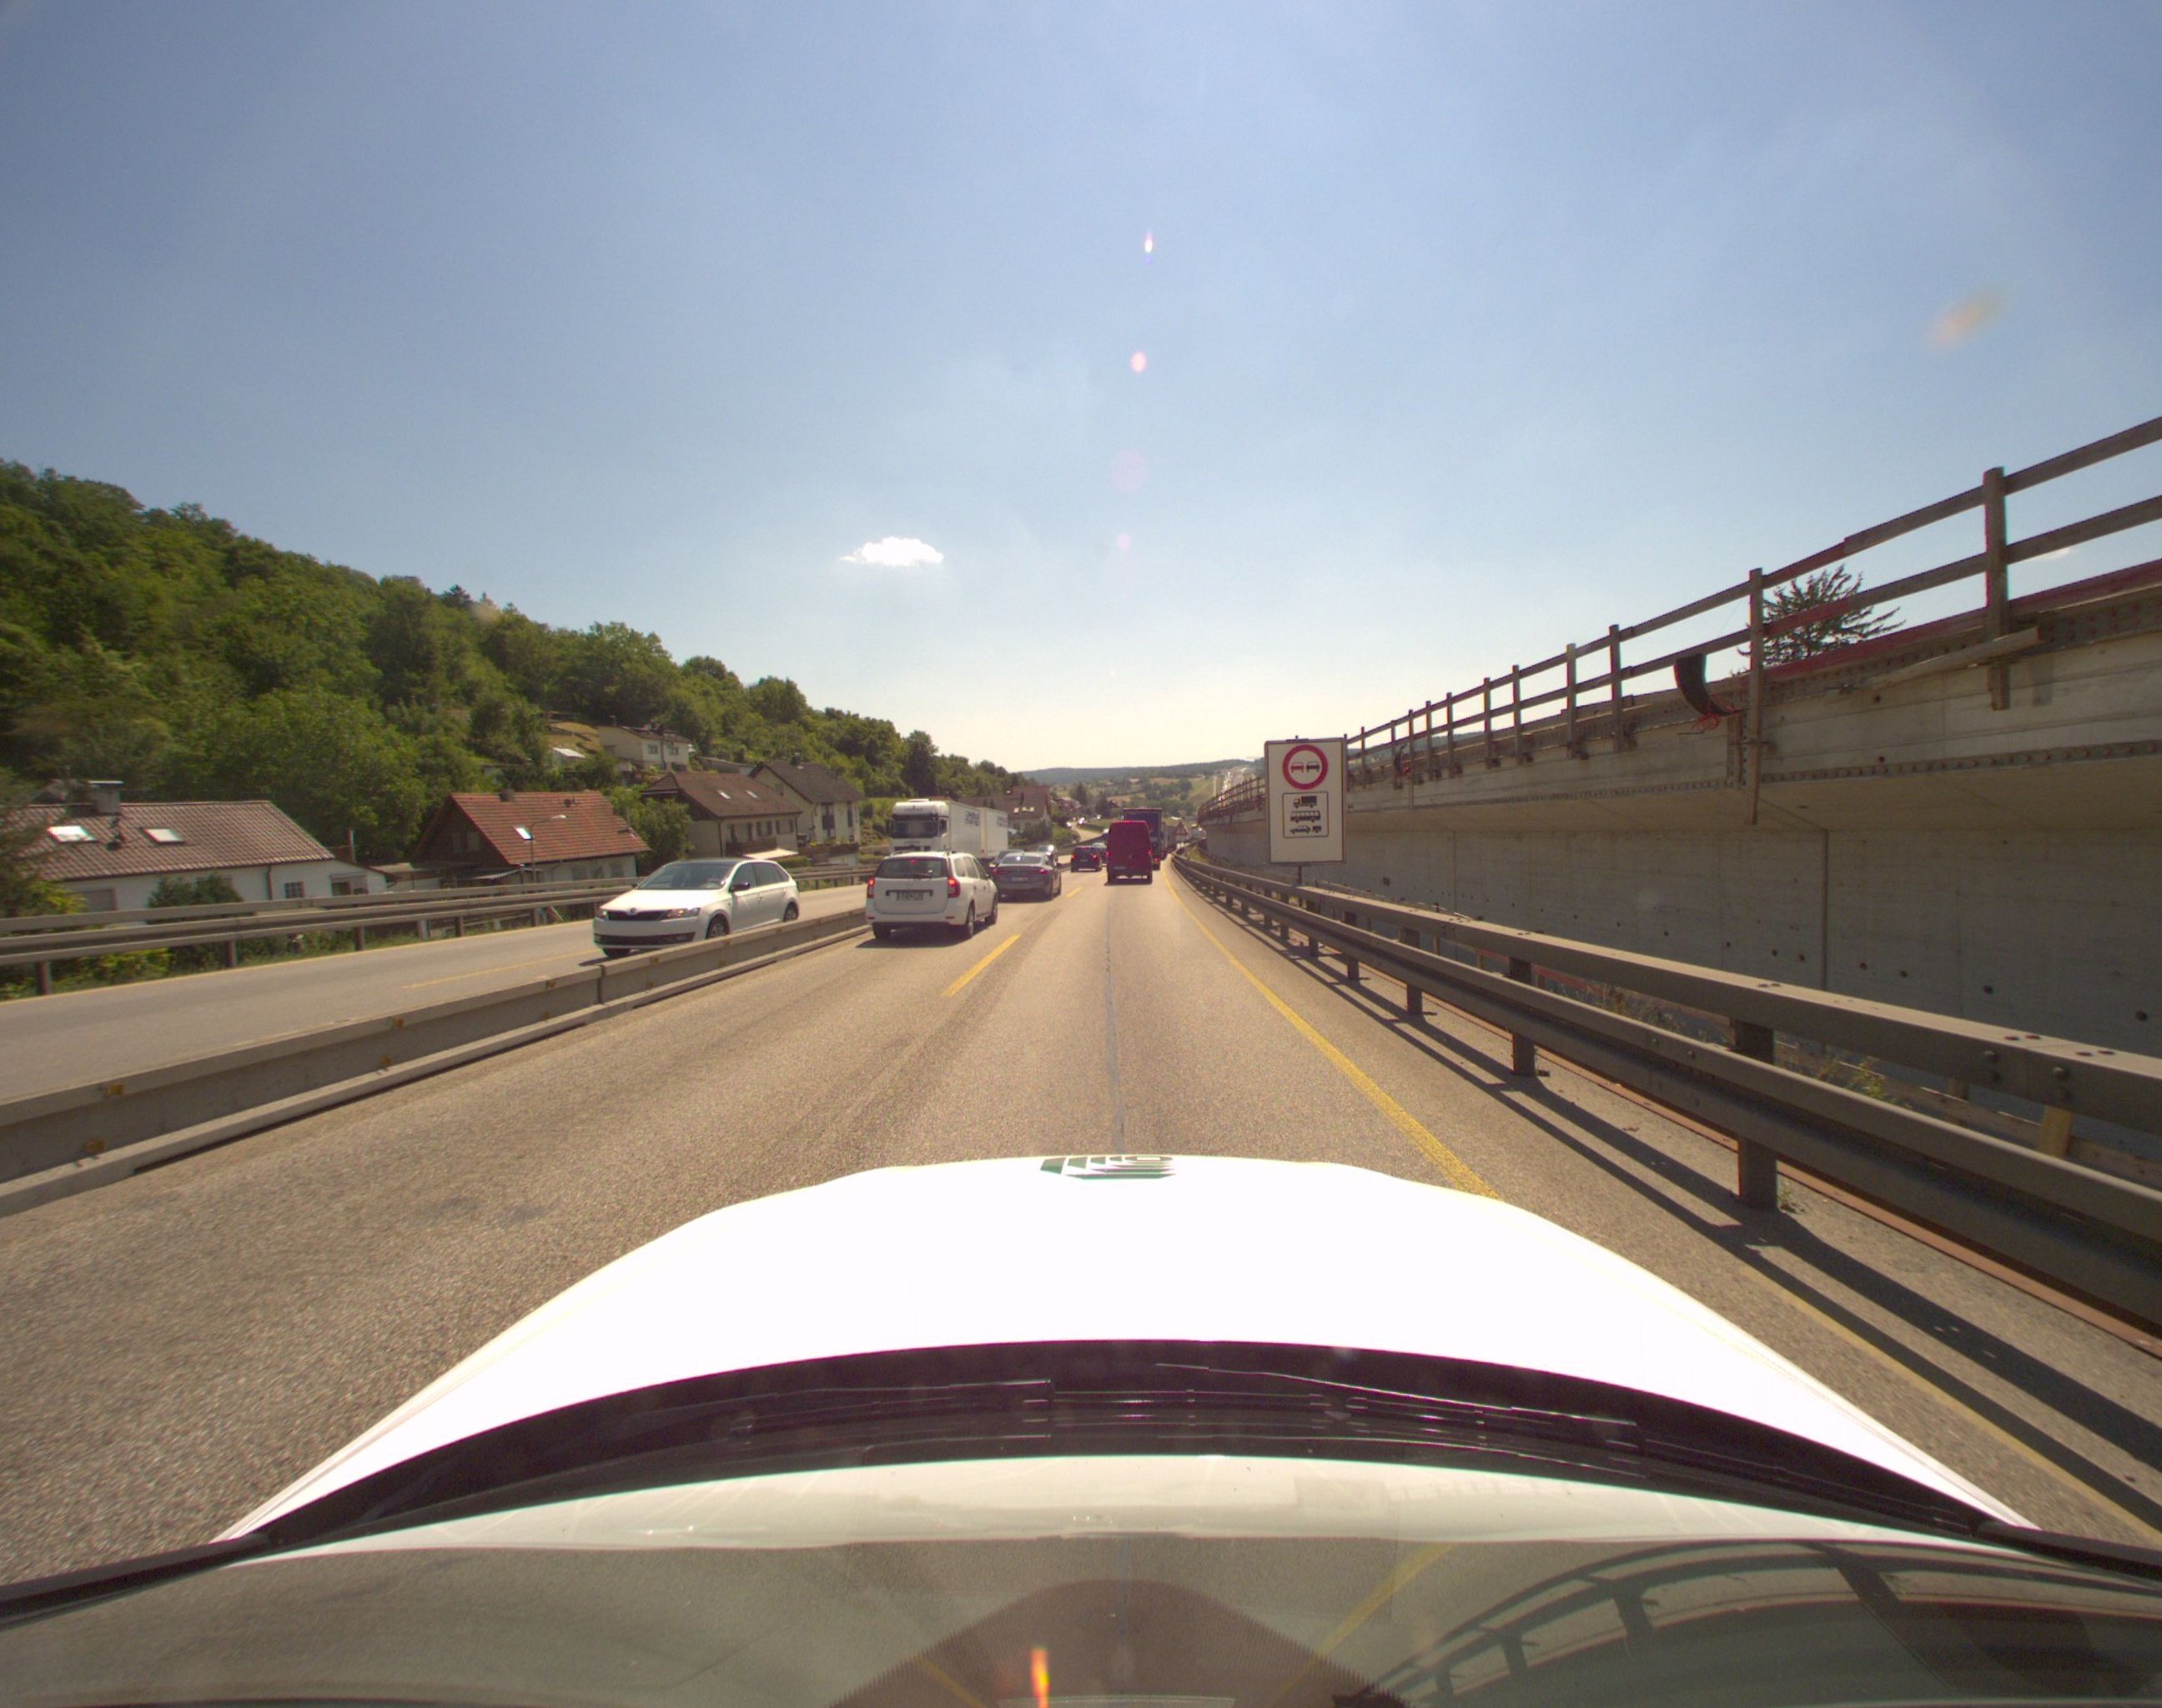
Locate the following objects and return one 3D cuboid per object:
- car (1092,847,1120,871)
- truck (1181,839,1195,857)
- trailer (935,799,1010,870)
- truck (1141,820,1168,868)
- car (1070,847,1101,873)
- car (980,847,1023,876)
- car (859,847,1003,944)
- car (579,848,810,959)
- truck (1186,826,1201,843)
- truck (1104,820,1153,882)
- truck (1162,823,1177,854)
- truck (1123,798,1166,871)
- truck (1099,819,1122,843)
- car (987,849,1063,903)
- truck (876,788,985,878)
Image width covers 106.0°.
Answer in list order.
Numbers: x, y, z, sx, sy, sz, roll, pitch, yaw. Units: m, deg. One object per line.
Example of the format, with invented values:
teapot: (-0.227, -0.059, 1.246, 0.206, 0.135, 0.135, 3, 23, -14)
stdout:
car: (2.023, 0.408, 64.833, 1.720, 1.838, 4.008, -1, -1, 7)
truck: (27.544, -1.445, 209.963, 3.050, 4.381, 8.581, -1, -1, 10)
trailer: (-6.852, -1.181, 53.009, 2.990, 4.165, 9.028, -1, 0, 4)
truck: (8.046, -0.979, 88.609, 2.772, 4.816, 9.700, -1, -1, 6)
car: (0.333, 0.381, 52.193, 1.803, 1.608, 3.722, -1, -1, 3)
car: (-4.272, 0.367, 44.357, 1.776, 1.478, 4.621, -1, 1, 1)
car: (-2.634, 0.681, 15.317, 1.645, 1.483, 4.270, -3, 0, 3)
car: (-6.066, 0.711, 13.374, 1.574, 1.522, 4.158, -1, -1, 4)
truck: (31.847, -5.510, 230.333, 3.444, 4.381, 8.584, -1, -1, 12)
truck: (2.096, -0.105, 35.915, 1.985, 2.578, 4.004, -1, -1, 4)
truck: (13.044, -2.220, 119.711, 1.982, 4.381, 4.008, -1, -1, 8)
truck: (4.683, -1.256, 58.953, 2.772, 4.816, 9.700, -1, -1, 6)
truck: (5.186, -3.926, 141.567, 3.116, 4.079, 6.899, -1, 1, 10)
car: (-1.625, 0.611, 25.138, 1.787, 1.485, 4.053, -1, 0, 3)
truck: (-7.637, -1.050, 43.225, 2.964, 4.162, 10.558, -1, 1, 4)
